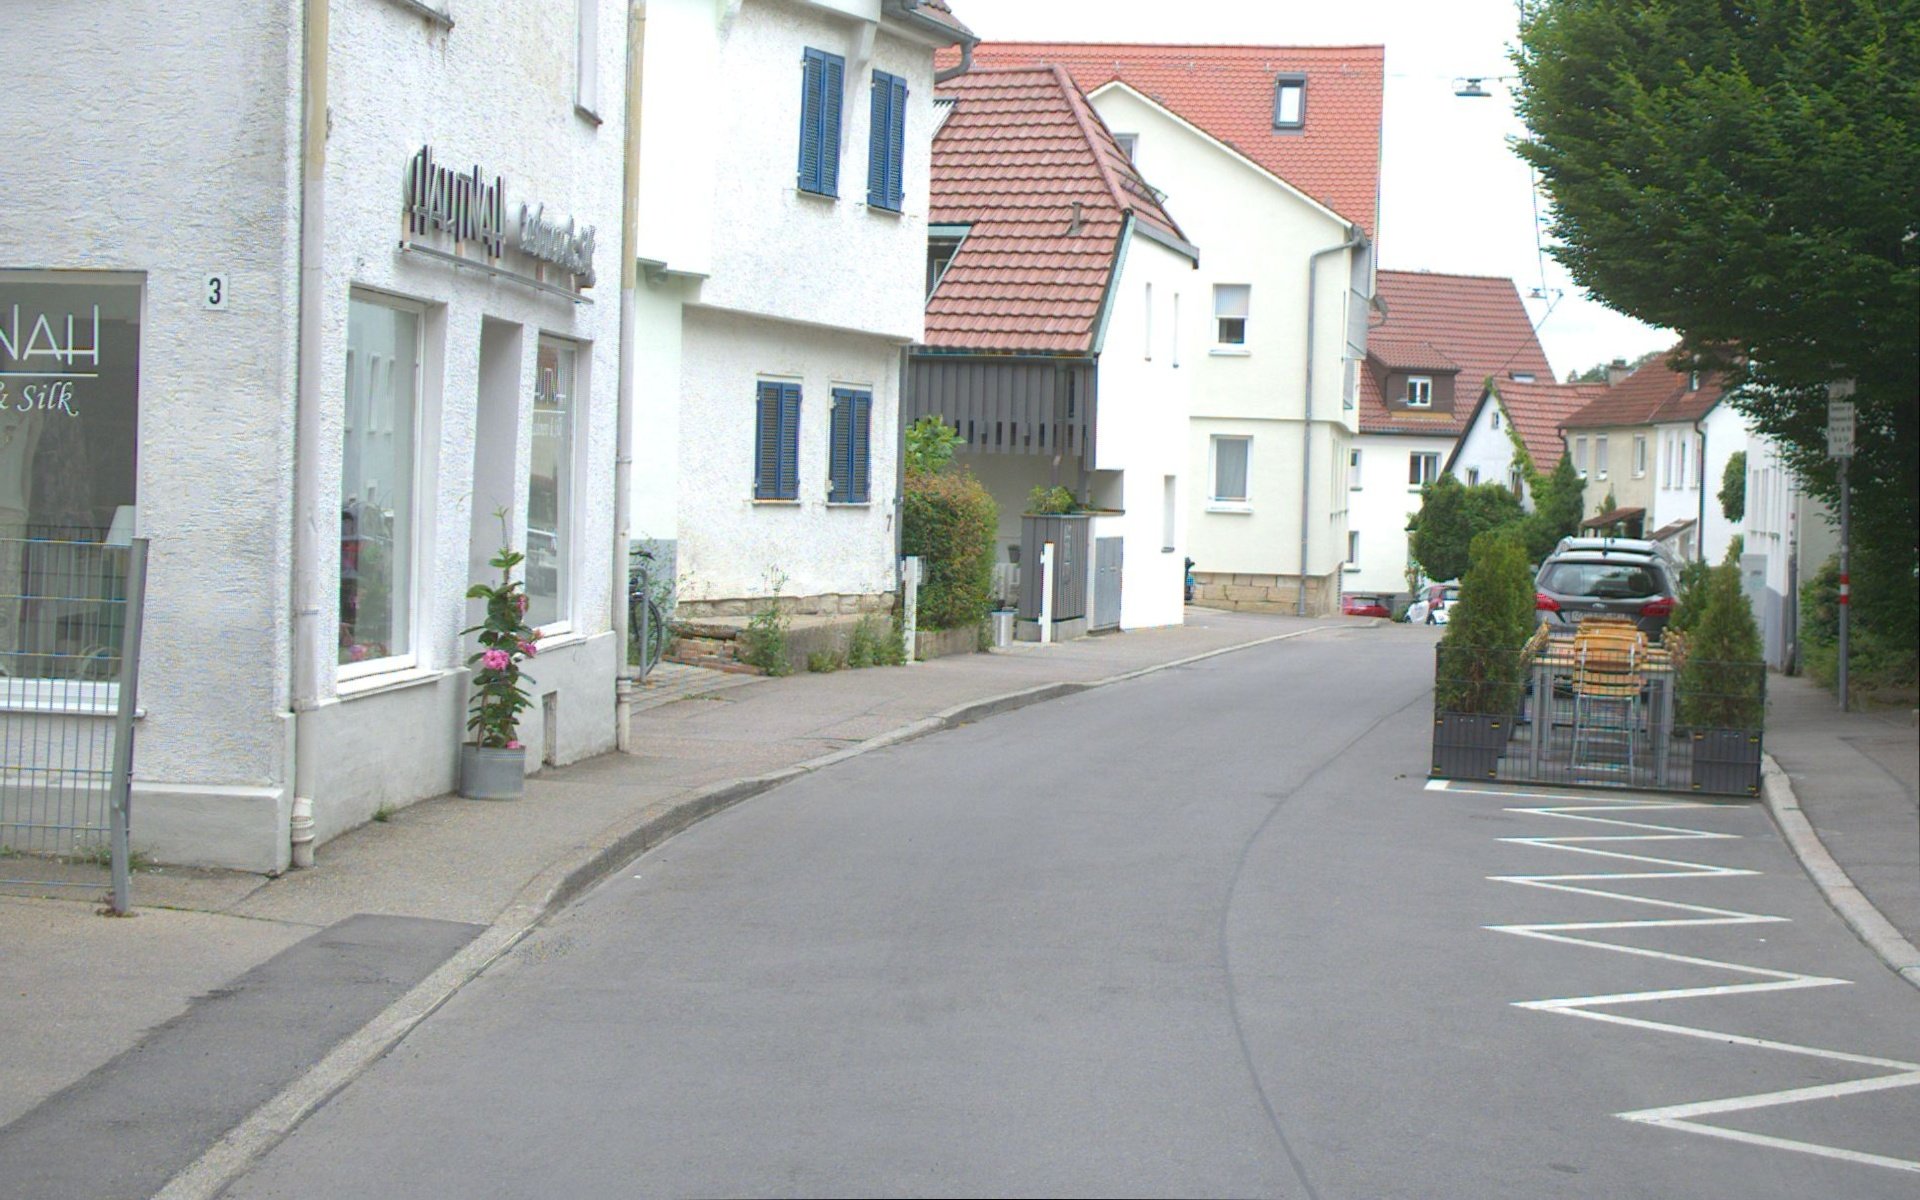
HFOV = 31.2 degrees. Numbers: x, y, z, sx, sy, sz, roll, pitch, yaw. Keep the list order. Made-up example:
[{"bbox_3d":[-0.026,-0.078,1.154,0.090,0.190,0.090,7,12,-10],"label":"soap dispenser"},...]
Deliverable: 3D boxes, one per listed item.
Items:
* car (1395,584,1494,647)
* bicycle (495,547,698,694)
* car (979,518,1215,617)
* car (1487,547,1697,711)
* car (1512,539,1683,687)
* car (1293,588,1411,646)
[{"bbox_3d":[14.911,0.458,106.031,1.962,1.707,4.001,3,1,-7],"label":"car"},{"bbox_3d":[-2.755,0.139,26.289,0.443,1.035,2.090,8,4,24],"label":"bicycle"},{"bbox_3d":[2.475,-0.573,61.644,3.734,1.406,2.118,5,0,15],"label":"car"},{"bbox_3d":[6.690,0.252,36.137,1.949,1.502,4.818,3,1,12],"label":"car"},{"bbox_3d":[7.793,0.132,42.113,1.864,1.627,4.899,3,1,10],"label":"car"},{"bbox_3d":[12.742,0.577,111.919,1.993,1.678,4.000,-3,0,-24],"label":"car"}]
